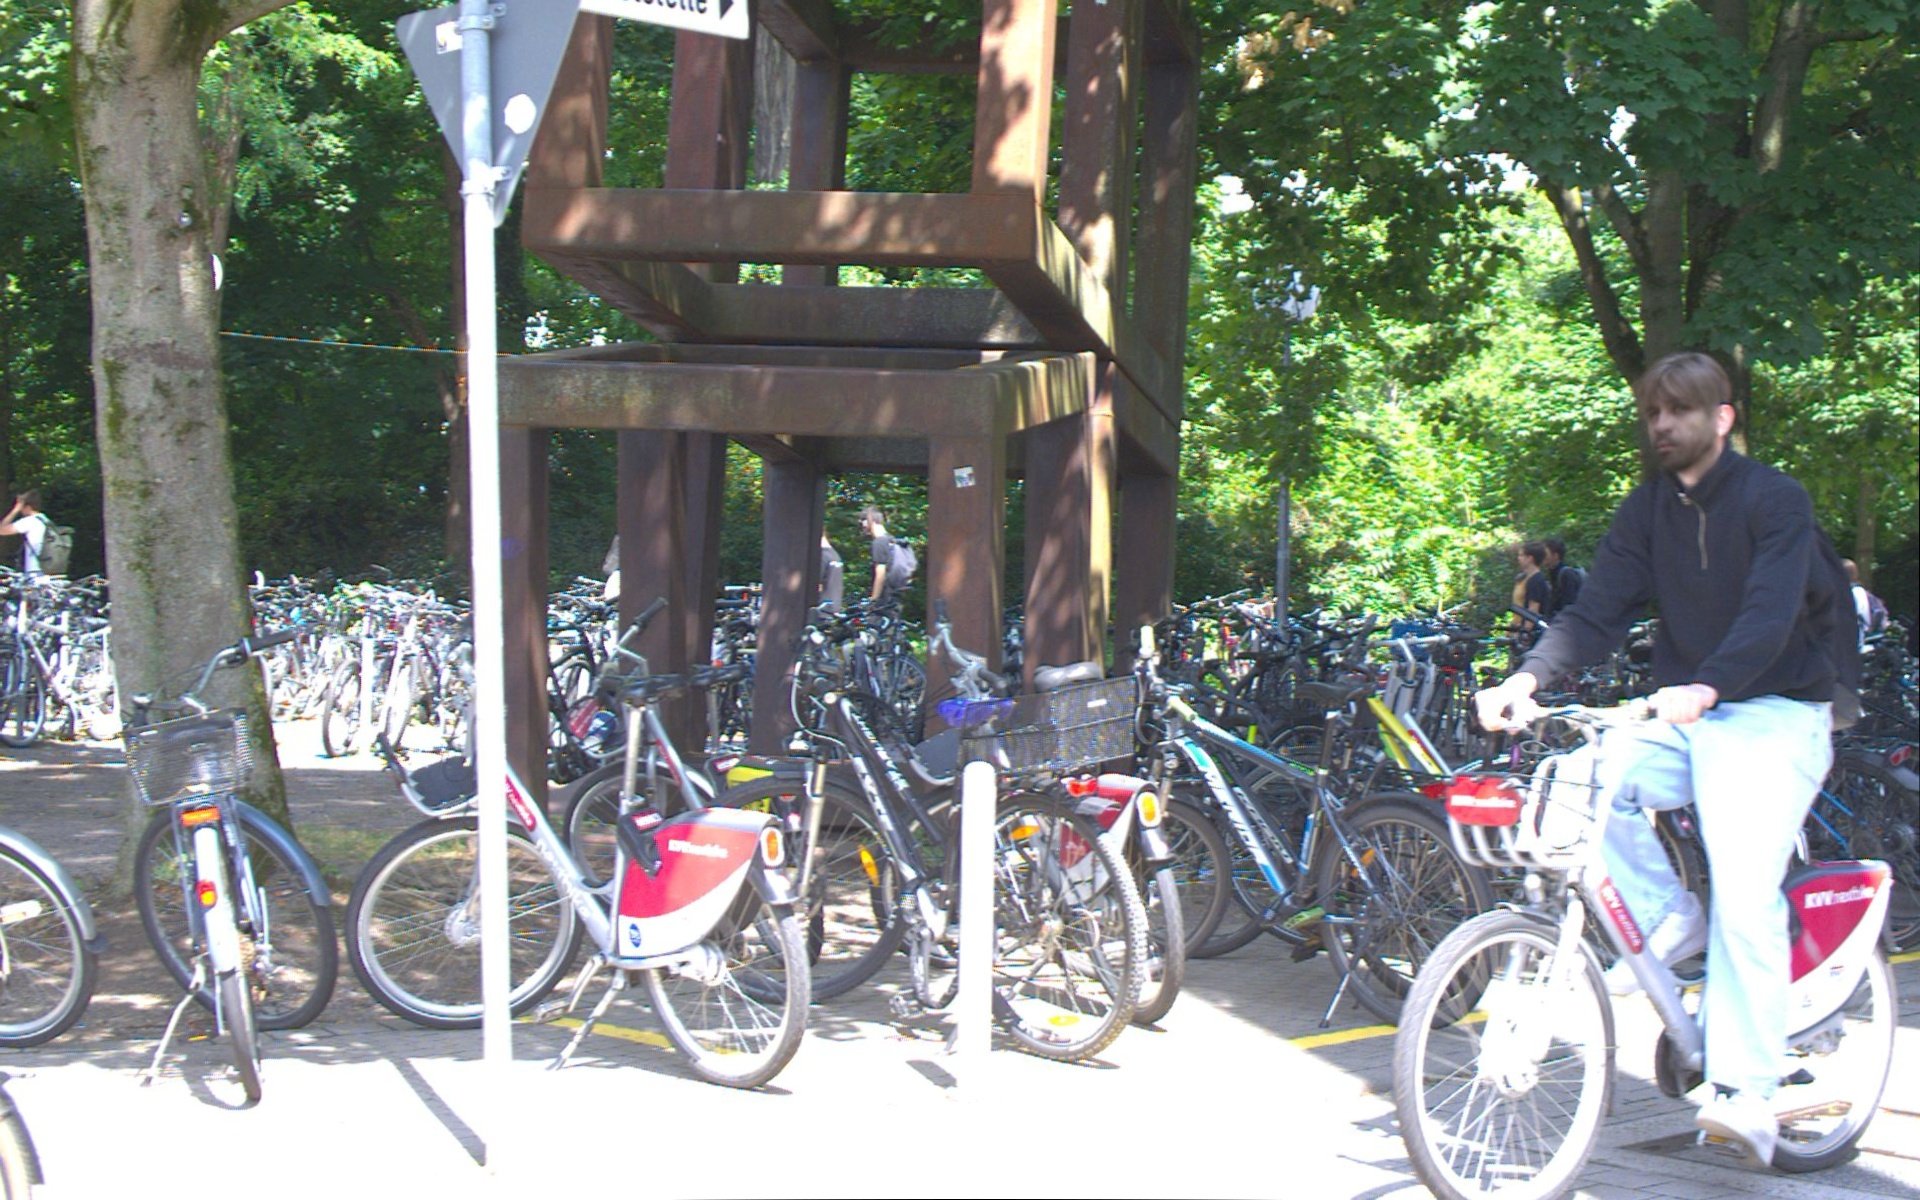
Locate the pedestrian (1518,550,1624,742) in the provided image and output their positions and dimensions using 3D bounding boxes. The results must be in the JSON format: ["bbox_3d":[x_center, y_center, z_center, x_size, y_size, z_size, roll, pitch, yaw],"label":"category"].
[{"bbox_3d":[5.845,0.431,32.880,0.904,1.768,0.769,3,0,11],"label":"pedestrian"}]

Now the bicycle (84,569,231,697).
[{"bbox_3d":[-7.132,0.292,30.626,0.473,1.080,1.698,3,0,15],"label":"bicycle"}]

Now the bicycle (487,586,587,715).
[{"bbox_3d":[-3.712,0.431,30.235,0.473,1.080,1.699,3,0,5],"label":"bicycle"}]

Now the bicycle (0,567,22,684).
[{"bbox_3d":[-9.270,0.222,31.474,0.473,1.080,1.698,3,0,15],"label":"bicycle"}]

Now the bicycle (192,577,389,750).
[{"bbox_3d":[-4.527,0.422,23.367,0.501,1.104,1.905,3,0,14],"label":"bicycle"}]

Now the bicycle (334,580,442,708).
[{"bbox_3d":[-5.040,0.376,30.376,0.473,1.080,1.699,3,0,5],"label":"bicycle"}]

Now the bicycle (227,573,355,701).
[{"bbox_3d":[-5.932,0.320,30.565,0.473,1.080,1.699,3,0,10],"label":"bicycle"}]

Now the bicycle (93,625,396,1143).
[{"bbox_3d":[-1.834,0.649,8.653,0.588,1.104,1.747,1,1,-17],"label":"bicycle"}]

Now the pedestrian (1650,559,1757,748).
[{"bbox_3d":[7.192,0.508,33.272,0.904,1.768,0.769,3,0,11],"label":"pedestrian"}]

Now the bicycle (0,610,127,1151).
[{"bbox_3d":[-2.426,0.626,8.410,0.637,1.155,1.630,1,1,-17],"label":"bicycle"}]

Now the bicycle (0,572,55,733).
[{"bbox_3d":[-6.943,0.351,23.513,0.501,1.104,2.004,3,0,14],"label":"bicycle"}]

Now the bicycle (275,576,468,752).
[{"bbox_3d":[-3.931,0.419,23.106,0.501,1.104,1.905,3,0,14],"label":"bicycle"}]

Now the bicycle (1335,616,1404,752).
[{"bbox_3d":[3.456,0.694,29.097,0.473,1.080,1.699,3,0,5],"label":"bicycle"}]

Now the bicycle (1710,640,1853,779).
[{"bbox_3d":[6.973,0.918,29.242,0.472,1.080,1.700,3,0,-11],"label":"bicycle"}]

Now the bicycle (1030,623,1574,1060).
[{"bbox_3d":[0.961,0.665,10.032,0.495,1.104,1.629,3,0,-41],"label":"bicycle"}]

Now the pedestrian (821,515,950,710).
[{"bbox_3d":[-0.694,0.118,32.291,0.905,1.768,0.769,3,0,21],"label":"pedestrian"}]

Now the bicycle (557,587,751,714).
[{"bbox_3d":[-2.851,0.465,31.980,1.697,1.080,0.603,3,0,28],"label":"bicycle"}]

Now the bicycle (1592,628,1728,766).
[{"bbox_3d":[5.955,0.812,29.326,0.472,1.080,1.700,3,0,-11],"label":"bicycle"}]

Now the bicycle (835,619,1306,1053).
[{"bbox_3d":[0.286,0.638,10.026,0.495,1.104,1.630,0,2,-34],"label":"bicycle"}]

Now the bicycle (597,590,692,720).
[{"bbox_3d":[-2.745,0.469,30.041,0.473,1.080,1.699,3,0,5],"label":"bicycle"}]

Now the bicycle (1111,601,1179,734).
[{"bbox_3d":[1.597,0.560,29.510,0.473,1.080,1.699,3,0,5],"label":"bicycle"}]

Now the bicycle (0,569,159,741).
[{"bbox_3d":[-6.184,0.359,23.434,0.501,1.104,2.004,3,0,14],"label":"bicycle"}]

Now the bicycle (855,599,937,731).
[{"bbox_3d":[-0.543,0.543,29.706,0.473,1.080,1.699,3,0,5],"label":"bicycle"}]

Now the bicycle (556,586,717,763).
[{"bbox_3d":[-2.146,0.482,23.010,0.501,1.104,1.906,3,0,11],"label":"bicycle"}]

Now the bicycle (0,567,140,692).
[{"bbox_3d":[-8.078,0.265,31.125,0.473,1.080,1.698,3,0,15],"label":"bicycle"}]

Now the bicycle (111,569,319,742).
[{"bbox_3d":[-5.058,0.367,23.456,0.501,1.104,2.004,3,0,14],"label":"bicycle"}]

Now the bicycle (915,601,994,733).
[{"bbox_3d":[-0.040,0.558,29.593,0.473,1.080,1.699,3,0,5],"label":"bicycle"}]

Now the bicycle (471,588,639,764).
[{"bbox_3d":[-2.692,0.492,23.039,0.501,1.104,1.906,3,0,11],"label":"bicycle"}]

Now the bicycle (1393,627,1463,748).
[{"bbox_3d":[3.951,0.725,29.064,0.451,0.958,1.740,3,0,5],"label":"bicycle"}]

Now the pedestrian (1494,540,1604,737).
[{"bbox_3d":[5.495,0.355,32.044,0.904,1.768,0.769,3,0,11],"label":"pedestrian"}]

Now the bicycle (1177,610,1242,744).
[{"bbox_3d":[2.142,0.645,29.447,0.473,1.080,1.699,3,0,5],"label":"bicycle"}]

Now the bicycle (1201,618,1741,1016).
[{"bbox_3d":[1.601,0.657,10.988,0.627,1.104,1.629,3,0,-41],"label":"bicycle"}]

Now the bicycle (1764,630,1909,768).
[{"bbox_3d":[7.471,0.830,29.373,0.472,1.080,1.700,3,0,-11],"label":"bicycle"}]

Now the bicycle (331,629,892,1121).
[{"bbox_3d":[-0.934,0.657,8.885,1.629,1.104,0.496,2,2,44],"label":"bicycle"}]

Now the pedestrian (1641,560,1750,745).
[{"bbox_3d":[6.930,0.487,32.411,0.904,1.674,0.769,3,0,11],"label":"pedestrian"}]

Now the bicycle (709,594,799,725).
[{"bbox_3d":[-1.776,0.502,29.845,0.473,1.080,1.699,3,0,5],"label":"bicycle"}]

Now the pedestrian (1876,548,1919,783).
[{"bbox_3d":[7.356,0.490,25.253,0.904,1.697,0.770,3,0,-9],"label":"pedestrian"}]

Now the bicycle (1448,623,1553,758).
[{"bbox_3d":[4.613,0.758,29.414,0.472,1.080,1.700,3,0,-3],"label":"bicycle"}]

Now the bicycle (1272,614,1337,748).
[{"bbox_3d":[2.935,0.673,29.343,0.473,1.080,1.699,3,0,5],"label":"bicycle"}]

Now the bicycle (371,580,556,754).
[{"bbox_3d":[-3.338,0.441,23.256,0.501,1.104,1.905,3,0,14],"label":"bicycle"}]

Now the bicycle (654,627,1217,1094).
[{"bbox_3d":[-0.099,0.657,9.317,1.629,1.104,0.496,2,2,44],"label":"bicycle"}]

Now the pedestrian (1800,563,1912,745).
[{"bbox_3d":[8.551,0.504,32.828,0.904,1.674,0.769,3,0,11],"label":"pedestrian"}]

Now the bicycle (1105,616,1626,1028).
[{"bbox_3d":[1.213,0.646,10.582,0.495,1.104,1.629,3,0,-41],"label":"bicycle"}]

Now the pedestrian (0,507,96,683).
[{"bbox_3d":[-9.557,-0.056,35.552,0.906,1.768,0.768,3,0,44],"label":"pedestrian"}]

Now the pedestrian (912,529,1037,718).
[{"bbox_3d":[0.143,0.226,33.361,0.905,1.768,0.769,3,0,22],"label":"pedestrian"}]
